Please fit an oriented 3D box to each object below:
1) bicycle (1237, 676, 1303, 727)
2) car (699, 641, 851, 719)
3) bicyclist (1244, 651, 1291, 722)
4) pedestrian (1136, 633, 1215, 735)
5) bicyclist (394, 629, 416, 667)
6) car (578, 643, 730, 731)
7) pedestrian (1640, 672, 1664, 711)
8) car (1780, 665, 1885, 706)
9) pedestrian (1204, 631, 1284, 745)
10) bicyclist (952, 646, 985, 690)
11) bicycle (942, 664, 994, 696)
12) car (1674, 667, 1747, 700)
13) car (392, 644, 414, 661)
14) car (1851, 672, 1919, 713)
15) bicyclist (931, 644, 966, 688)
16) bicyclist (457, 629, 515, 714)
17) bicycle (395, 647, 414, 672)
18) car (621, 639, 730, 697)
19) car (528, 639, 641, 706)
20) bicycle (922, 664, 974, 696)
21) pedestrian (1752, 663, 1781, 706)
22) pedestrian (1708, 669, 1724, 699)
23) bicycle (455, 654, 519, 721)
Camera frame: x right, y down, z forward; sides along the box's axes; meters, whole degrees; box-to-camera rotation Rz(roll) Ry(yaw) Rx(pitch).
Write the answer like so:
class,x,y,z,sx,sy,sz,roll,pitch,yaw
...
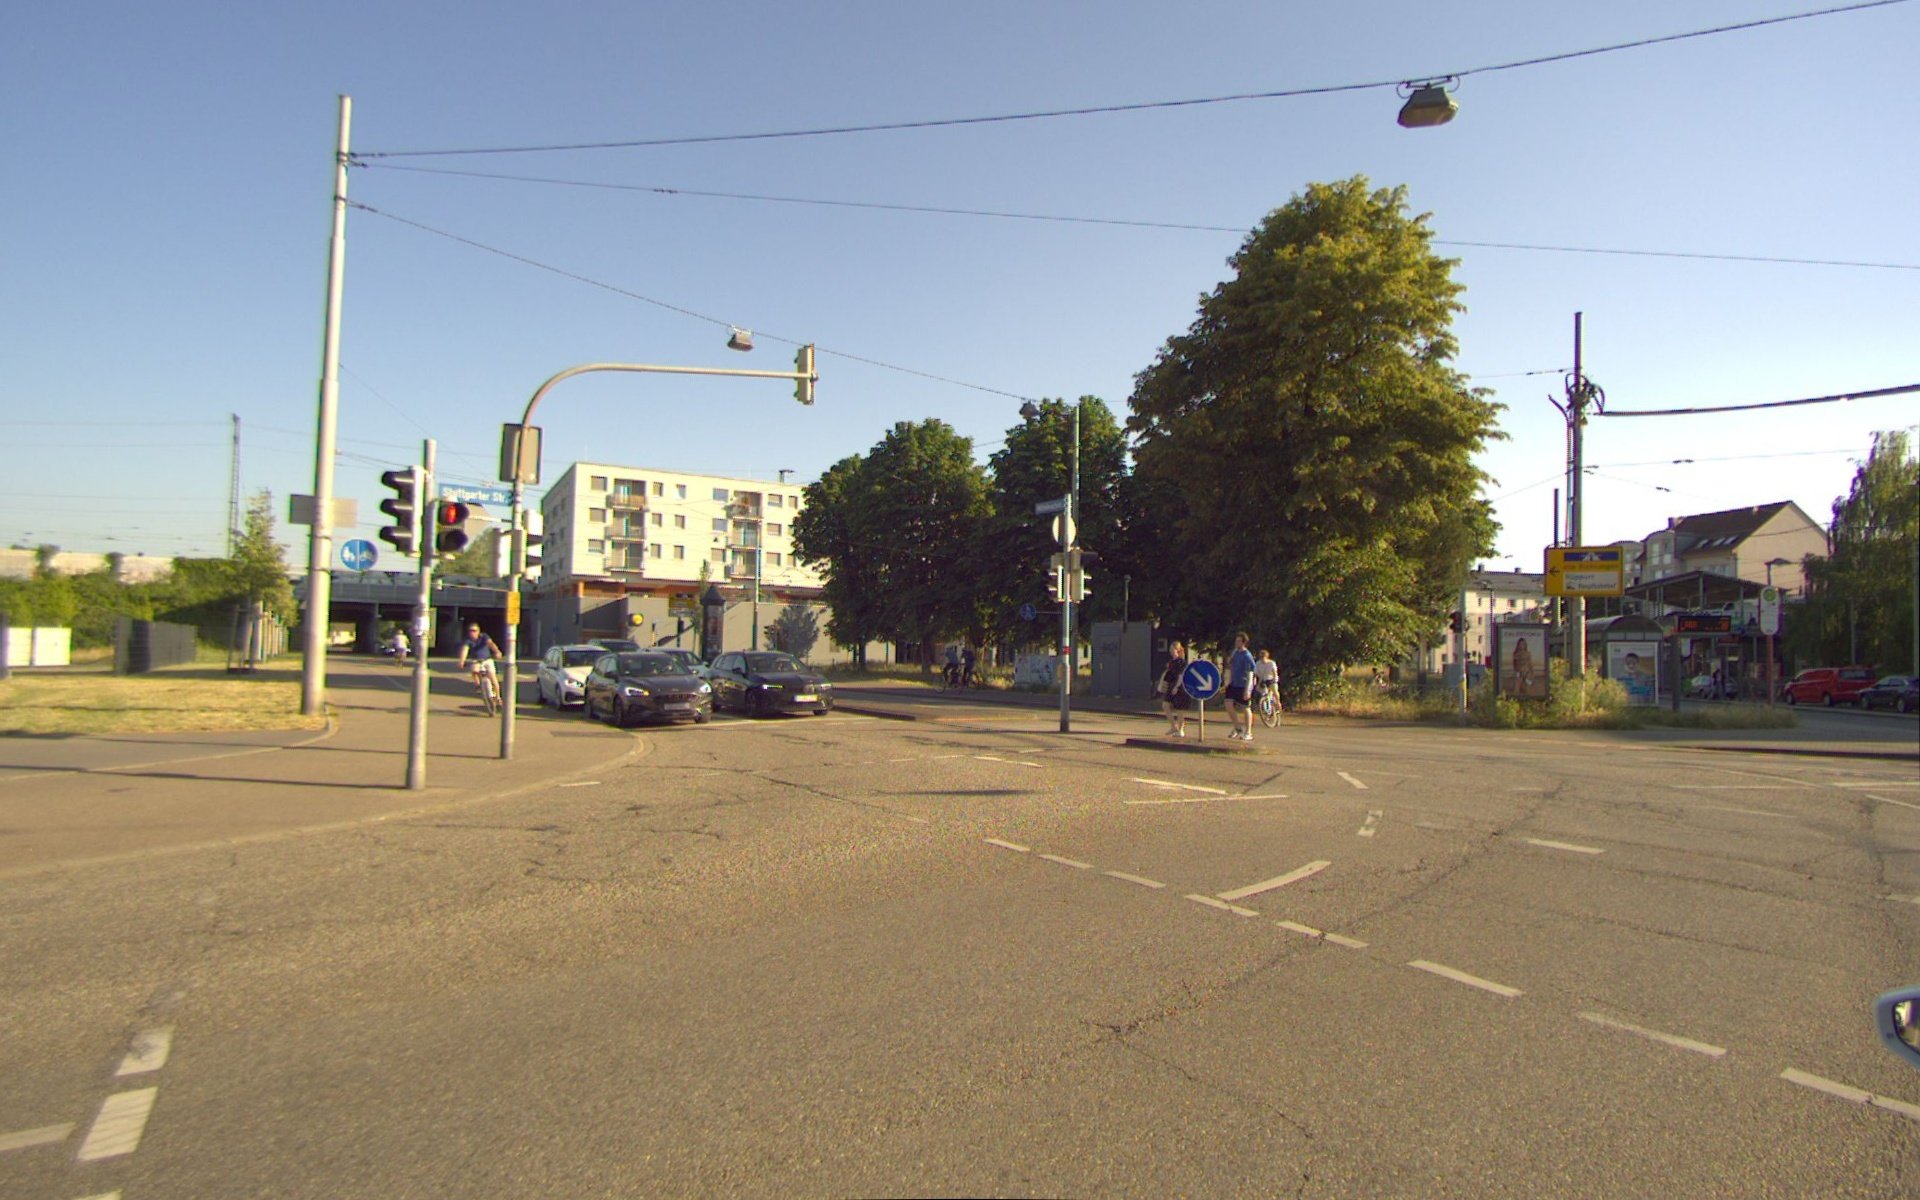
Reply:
class,x,y,z,sx,sy,sz,roll,pitch,yaw
bicycle,7.475,2.415,24.118,0.690,1.157,2.191,-1,-4,41
car,-4.354,1.764,23.044,2.030,1.587,4.415,3,-3,-30
bicyclist,7.421,2.081,24.235,0.703,1.650,1.036,-1,-4,42
pedestrian,3.878,1.490,18.107,1.057,1.769,0.906,3,-3,-35
bicyclist,-24.582,2.122,44.518,0.768,1.626,0.851,3,-3,-30
car,-6.405,1.695,20.695,1.978,1.587,4.239,2,-3,-32
pedestrian,26.470,3.482,38.414,0.585,1.445,0.506,1,-3,8
car,45.285,4.418,52.309,2.015,1.987,5.155,-2,-3,15
pedestrian,5.048,1.537,17.841,1.057,1.950,0.906,3,-3,-35
bicyclist,0.324,2.499,37.027,1.023,1.552,0.657,-1,-3,44
bicycle,0.286,2.943,37.080,1.991,1.083,0.660,-2,-4,44
car,49.266,5.460,66.051,2.015,1.987,5.155,-2,-3,15
car,-62.600,5.883,112.851,1.978,1.726,3.965,3,-3,-32
car,43.346,4.218,46.148,1.808,1.689,4.373,-2,-3,15
bicyclist,-0.409,2.362,36.039,1.023,1.552,0.694,-1,-3,44
bicyclist,-9.083,1.353,19.237,0.843,1.567,1.013,3,-3,-32
bicycle,-24.639,2.620,44.535,0.656,1.083,2.003,3,-3,-30
car,-8.578,1.984,29.997,1.978,1.587,4.419,3,-3,-32
car,-9.939,1.846,26.408,1.978,1.587,4.239,3,-3,-32
bicycle,-0.444,2.868,36.068,0.659,1.083,1.992,4,-4,-44
pedestrian,39.408,4.114,49.081,0.906,2.040,0.769,0,-3,21
pedestrian,38.977,4.342,51.805,0.558,1.520,0.678,0,-3,28
bicycle,-9.044,1.642,19.152,0.784,1.164,2.272,3,-3,-32
